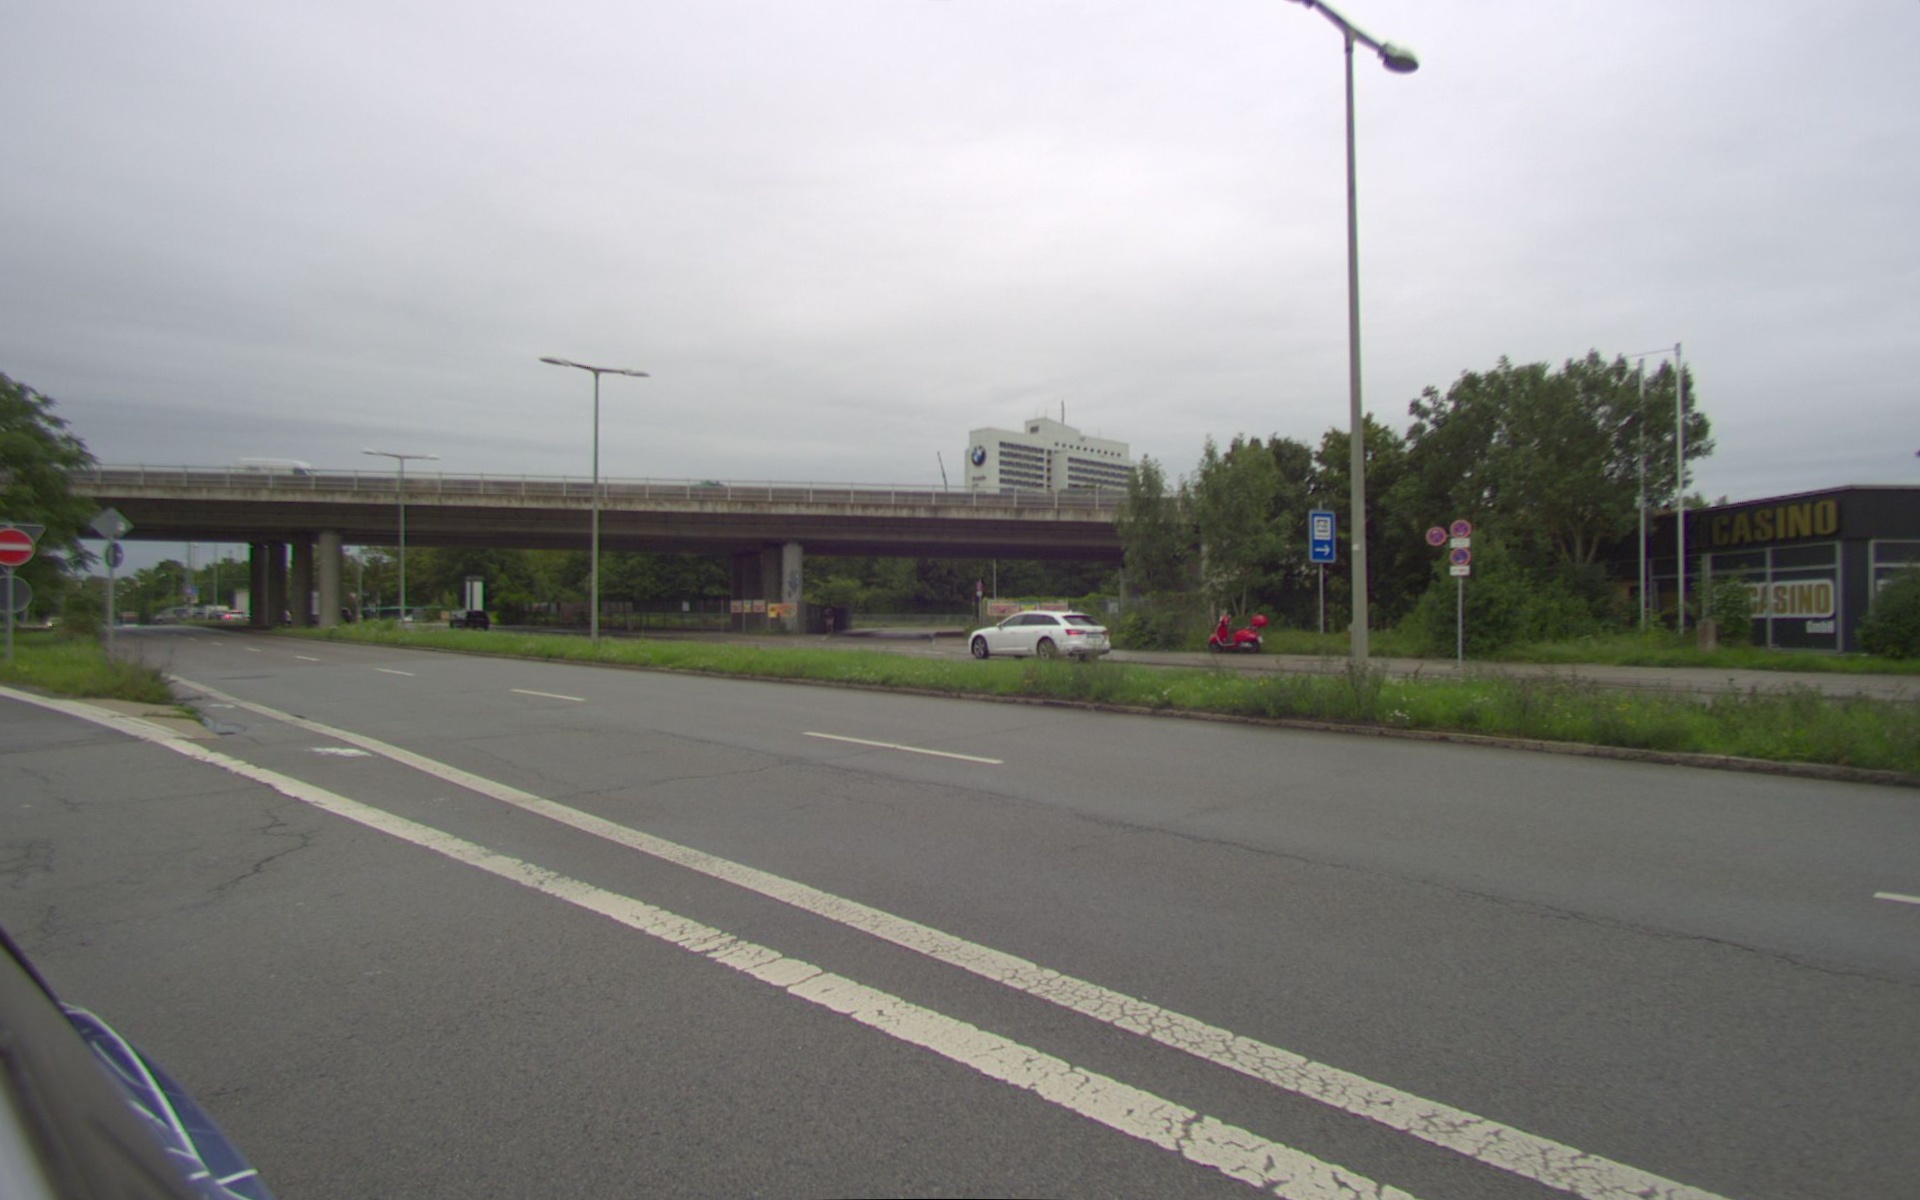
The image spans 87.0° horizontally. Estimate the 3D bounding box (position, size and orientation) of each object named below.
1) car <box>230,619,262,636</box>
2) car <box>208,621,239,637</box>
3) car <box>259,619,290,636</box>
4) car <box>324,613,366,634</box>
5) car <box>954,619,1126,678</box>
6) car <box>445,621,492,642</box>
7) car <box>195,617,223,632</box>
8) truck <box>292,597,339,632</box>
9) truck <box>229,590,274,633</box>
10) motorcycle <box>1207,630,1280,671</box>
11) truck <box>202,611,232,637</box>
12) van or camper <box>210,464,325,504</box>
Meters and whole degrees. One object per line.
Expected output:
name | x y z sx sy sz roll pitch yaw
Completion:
car | -70.451 2.700 99.865 1.945 1.595 4.596 5 -4 -43
car | -79.042 3.132 108.536 1.946 1.595 4.594 5 -4 -44
car | -71.531 2.850 105.609 1.945 1.595 4.597 5 -4 -42
car | -50.995 1.930 83.912 1.946 1.595 4.594 5 -4 -44
car | 2.271 1.373 29.873 1.969 1.584 5.125 2 -2 -42
car | -36.782 2.335 75.718 1.944 1.407 4.824 3 -2 -41
car | -84.606 2.744 114.055 1.946 1.595 4.594 -1 0 -44
truck | -59.338 1.378 93.046 2.226 3.000 7.240 5 -4 -43
truck | -81.242 1.351 115.998 2.756 4.626 9.613 5 -4 -42
motorcycle | 8.666 1.533 31.030 0.527 1.185 2.198 2 -2 -42
truck | -109.796 3.539 149.478 2.756 3.708 6.652 5 -4 -42
van or camper | -42.909 -7.186 62.832 5.425 2.029 2.333 1 -1 -3
